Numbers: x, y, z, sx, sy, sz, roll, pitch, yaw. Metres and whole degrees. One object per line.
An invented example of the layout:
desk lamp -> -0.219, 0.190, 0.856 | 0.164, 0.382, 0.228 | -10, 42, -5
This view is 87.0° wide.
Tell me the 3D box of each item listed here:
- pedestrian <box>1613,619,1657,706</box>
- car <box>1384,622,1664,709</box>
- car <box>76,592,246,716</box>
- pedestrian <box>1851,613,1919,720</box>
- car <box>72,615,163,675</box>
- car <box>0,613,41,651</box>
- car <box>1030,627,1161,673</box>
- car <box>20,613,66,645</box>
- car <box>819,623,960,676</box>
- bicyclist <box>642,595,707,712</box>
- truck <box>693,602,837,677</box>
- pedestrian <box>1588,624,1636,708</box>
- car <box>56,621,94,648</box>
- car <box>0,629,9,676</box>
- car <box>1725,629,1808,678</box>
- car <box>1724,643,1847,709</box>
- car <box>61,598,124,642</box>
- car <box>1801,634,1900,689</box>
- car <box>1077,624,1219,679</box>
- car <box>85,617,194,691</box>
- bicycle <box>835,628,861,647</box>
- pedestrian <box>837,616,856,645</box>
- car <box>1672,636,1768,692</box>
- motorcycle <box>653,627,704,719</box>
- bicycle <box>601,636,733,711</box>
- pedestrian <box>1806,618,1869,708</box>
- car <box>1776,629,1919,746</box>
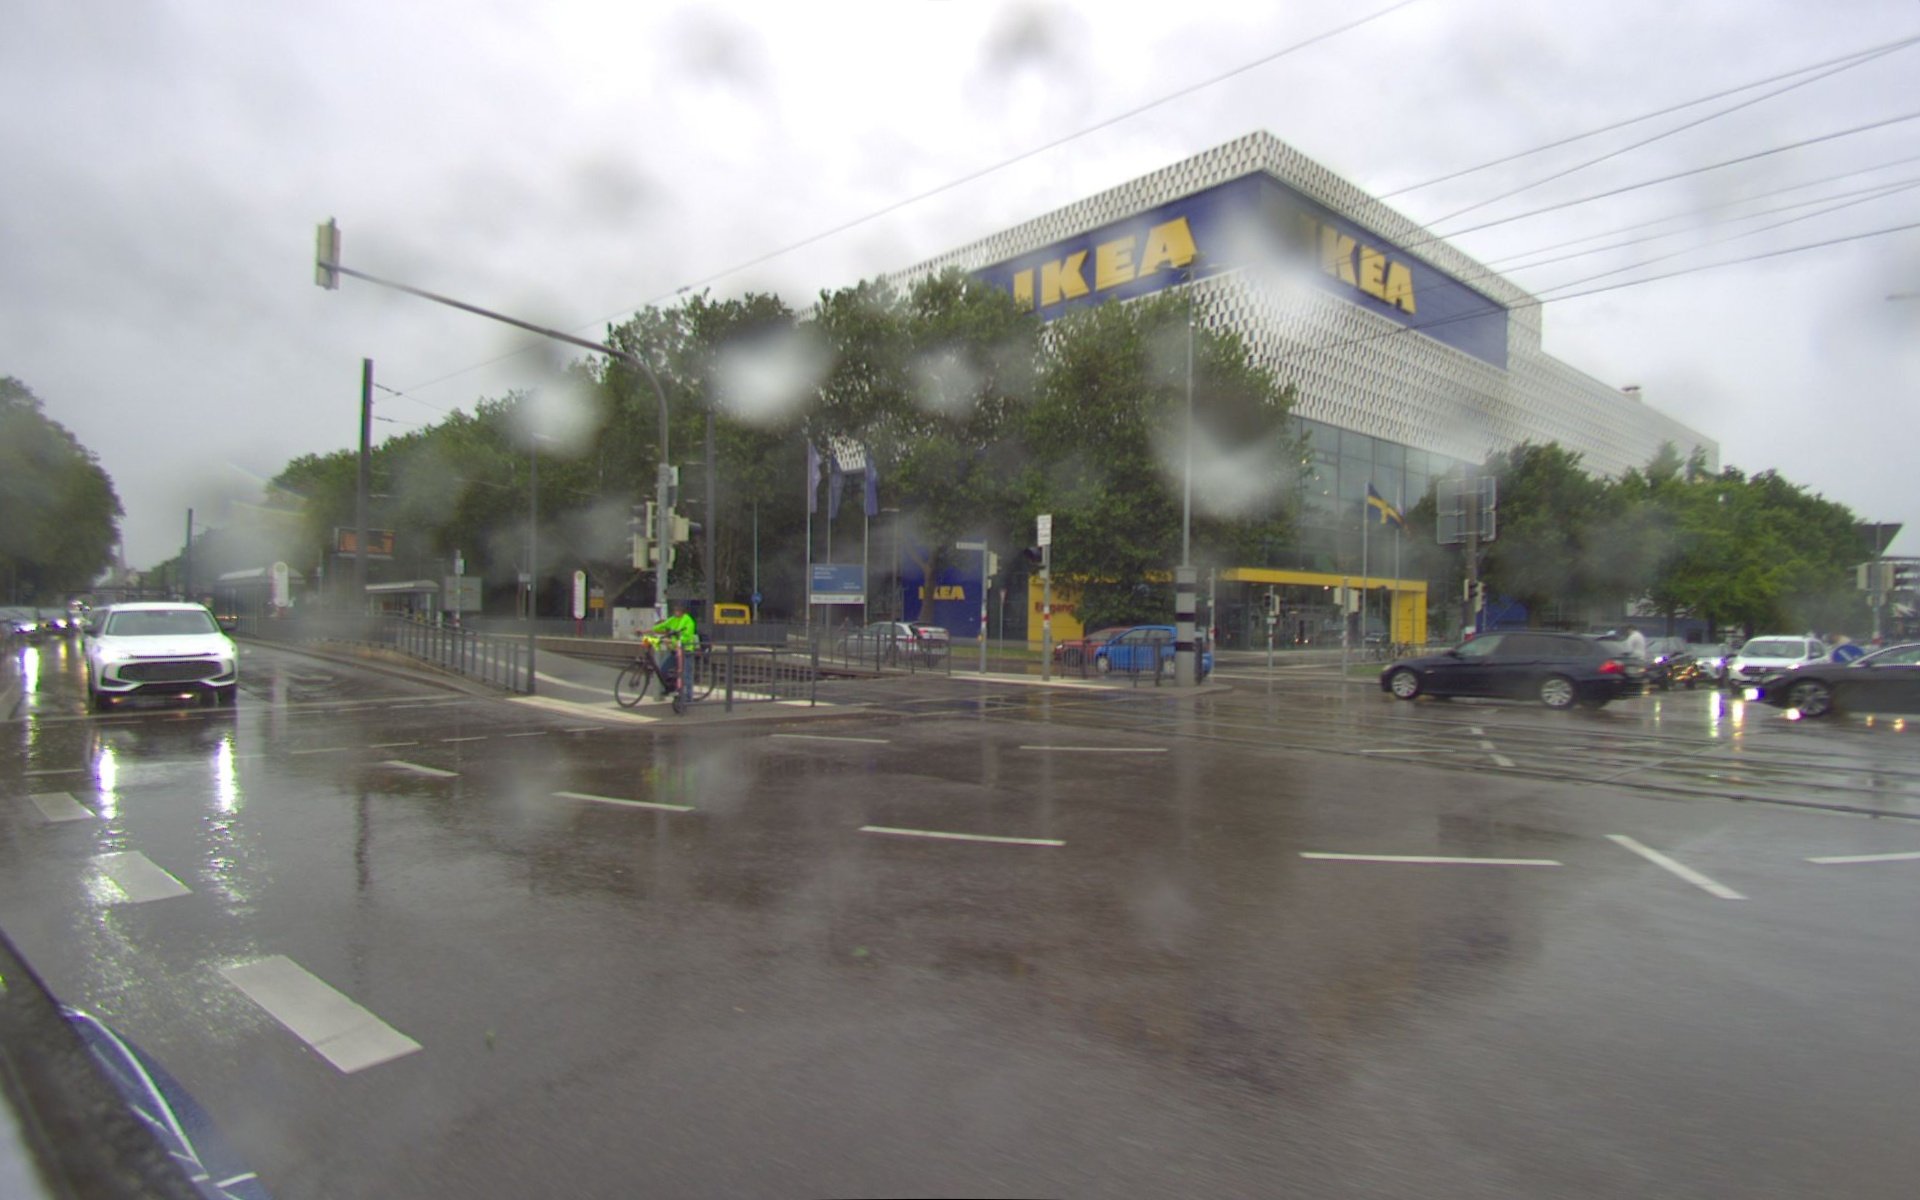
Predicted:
pedestrian -> 17.033, 1.555, 25.553 | 0.562, 2.151, 0.634 | -2, -1, -10
car -> 10.229, 1.145, 18.666 | 1.561, 1.377, 4.210 | -1, -1, -37
car -> -13.676, 0.822, 17.217 | 1.965, 1.802, 4.558 | -1, 0, -42
pedestrian -> 20.642, 1.443, 22.492 | 0.905, 2.261, 0.993 | -2, 2, -28
car -> -23.379, 1.199, 28.009 | 1.727, 1.485, 4.702 | -1, 0, -42
car -> -40.056, 1.378, 42.803 | 1.690, 1.536, 4.048 | -1, -1, -42
car -> 5.404, 1.994, 40.175 | 5.008, 1.579, 1.992 | -2, -1, 12
car -> -47.232, 1.522, 52.157 | 1.690, 1.536, 4.048 | -1, -1, -42
car -> -2.484, 1.649, 34.223 | 1.968, 1.579, 5.371 | -2, -1, -40
bicyclist -> -4.422, 0.810, 15.651 | 0.609, 1.745, 0.793 | -1, -1, -44
truck -> -9.201, 1.653, 46.786 | 2.705, 2.870, 9.113 | -1, 2, -38
pedestrian -> 16.359, 1.639, 25.403 | 0.683, 2.029, 0.629 | -2, -1, -10
car -> -54.250, 2.122, 62.040 | 1.690, 1.536, 4.048 | -1, -1, -42
car -> -33.190, 1.779, 34.005 | 1.690, 1.536, 4.048 | -1, -1, -42
car -> 31.221, 2.027, 39.158 | 3.955, 1.630, 1.763 | -1, 0, -40
car -> 23.051, 2.060, 28.203 | 4.393, 1.552, 1.822 | 0, -2, -40
car -> -32.860, 0.782, 38.294 | 1.690, 1.536, 4.048 | -1, -1, -42
car -> 29.790, 2.006, 33.823 | 4.313, 1.552, 1.822 | -1, -1, -40
car -> 5.398, 1.469, 29.376 | 1.562, 1.425, 3.921 | -1, -1, -40
car -> -18.208, 1.120, 22.368 | 1.690, 1.424, 4.703 | -1, 0, -41
bicycle -> -5.281, 1.765, 47.750 | 1.176, 0.863, 0.566 | -1, 0, 44
pedestrian -> -5.355, 1.417, 47.819 | 0.686, 1.345, 0.571 | -1, 0, 43
car -> 26.253, 2.152, 34.922 | 3.955, 1.630, 1.763 | -1, 0, -40
motorcycle -> -4.057, 1.012, 14.517 | 0.519, 1.230, 1.406 | -2, -1, -22
bicycle -> -4.508, 1.109, 15.647 | 1.844, 1.016, 0.670 | -2, -1, -44
pedestrian -> 20.464, 1.442, 23.611 | 0.771, 2.029, 0.861 | -1, 0, -25
car -> 16.440, 1.447, 16.568 | 1.783, 1.807, 4.509 | -1, 0, -37
